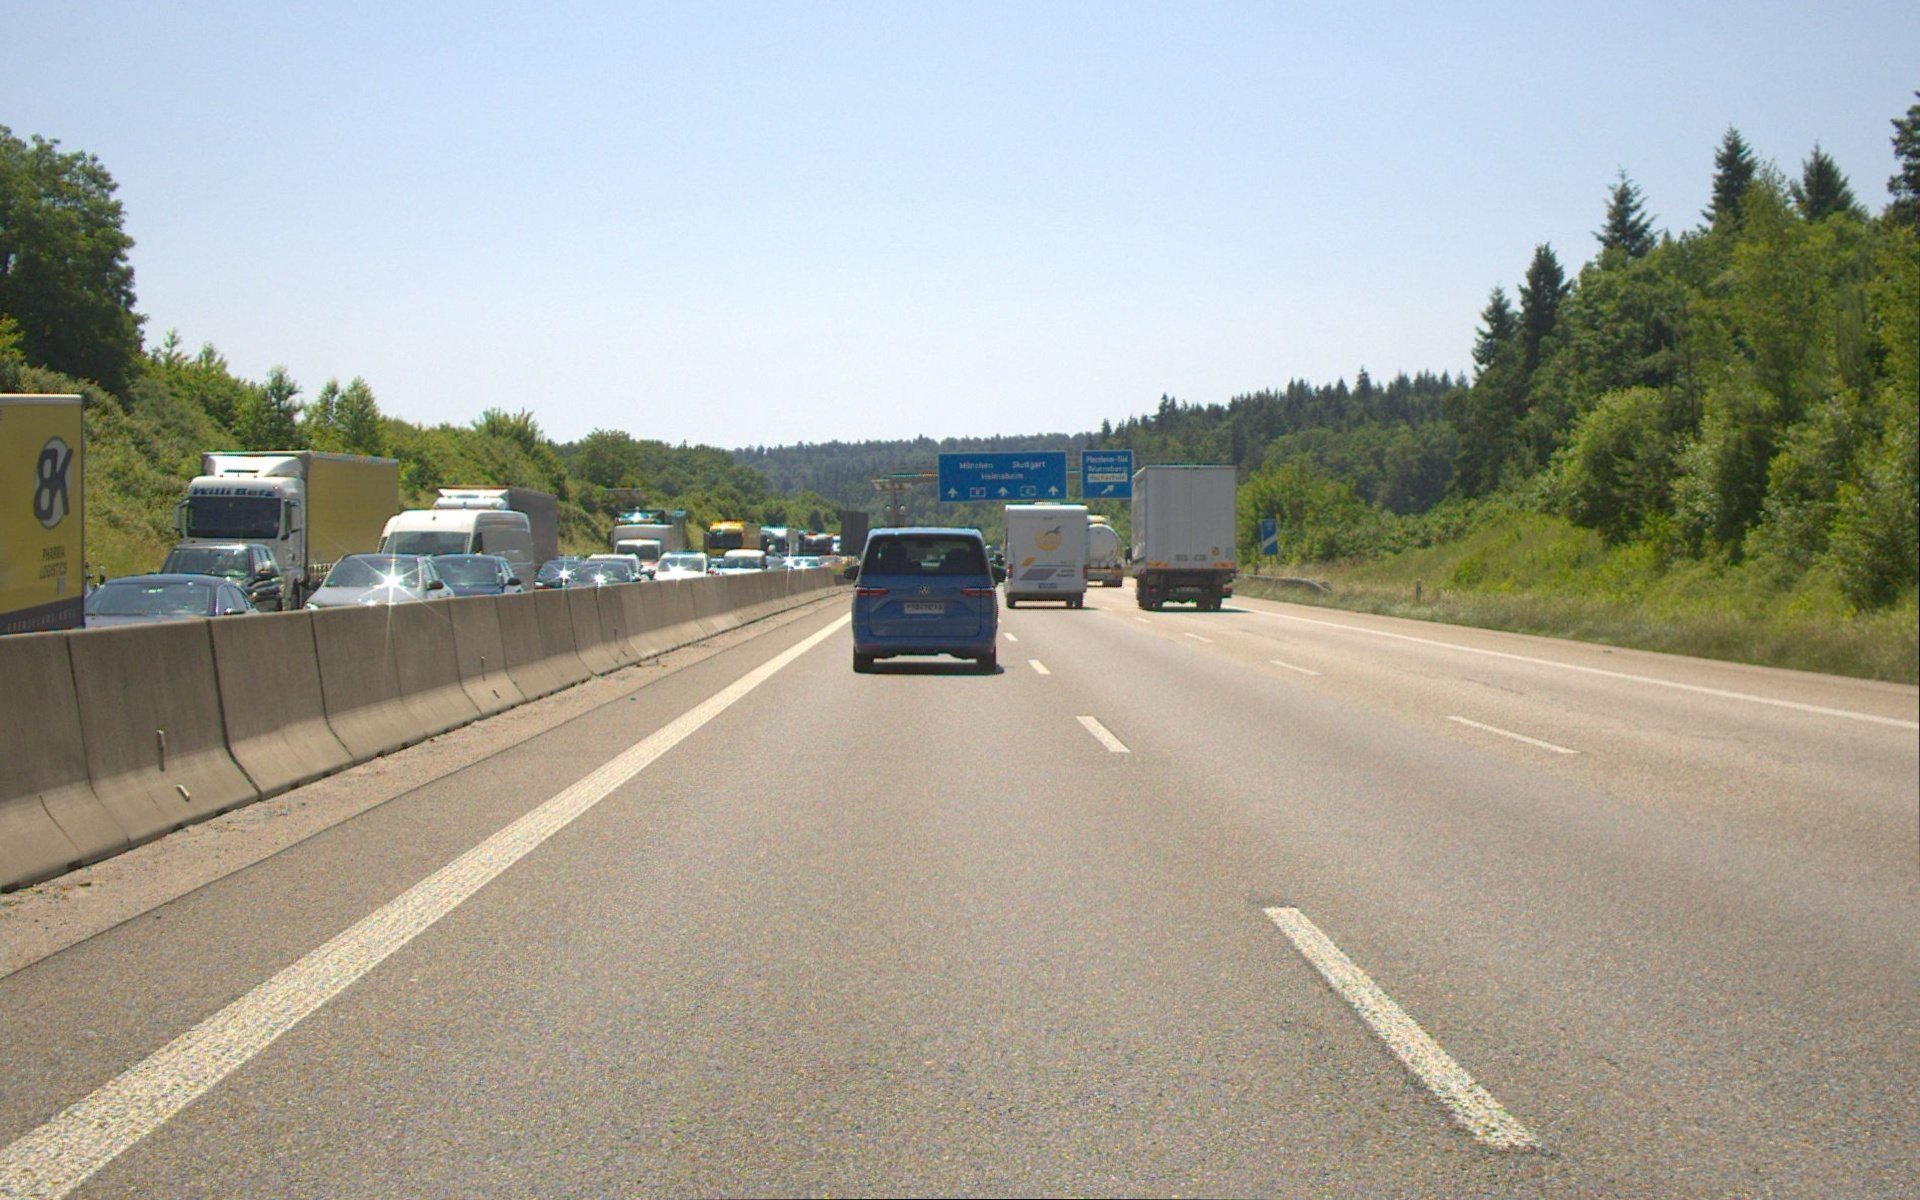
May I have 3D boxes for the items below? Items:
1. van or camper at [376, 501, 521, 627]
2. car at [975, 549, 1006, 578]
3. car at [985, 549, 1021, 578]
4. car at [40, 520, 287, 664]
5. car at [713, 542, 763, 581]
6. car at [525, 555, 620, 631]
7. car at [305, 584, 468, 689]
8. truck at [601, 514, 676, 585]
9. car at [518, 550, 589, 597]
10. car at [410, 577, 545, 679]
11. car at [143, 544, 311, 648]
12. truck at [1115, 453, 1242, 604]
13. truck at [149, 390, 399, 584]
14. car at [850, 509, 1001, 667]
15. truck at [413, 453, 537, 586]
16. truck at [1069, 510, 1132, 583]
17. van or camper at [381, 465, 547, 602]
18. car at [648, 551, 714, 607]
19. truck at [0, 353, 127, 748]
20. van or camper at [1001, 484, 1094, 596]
[{"bbox_3d":[-12.516,-0.865,84.620,2.197,2.929,7.534,1,0,2],"label":"van or camper"},{"bbox_3d":[1.853,-2.227,209.931,1.776,1.766,4.000,0,1,-1],"label":"car"},{"bbox_3d":[2.280,-1.959,183.518,1.780,1.481,4.000,0,1,-1],"label":"car"},{"bbox_3d":[-8.839,-0.095,38.510,1.827,1.492,4.760,1,0,-2],"label":"car"},{"bbox_3d":[-9.182,-1.585,142.485,1.827,1.559,5.111,1,0,-1],"label":"car"},{"bbox_3d":[-9.394,-0.176,83.716,1.827,1.758,4.991,1,0,-1],"label":"car"},{"bbox_3d":[-8.617,0.512,51.997,1.827,1.492,4.760,1,0,-2],"label":"car"},{"bbox_3d":[-13.335,-2.077,142.926,2.568,2.835,6.753,1,0,-1],"label":"truck"},{"bbox_3d":[-13.280,-0.877,112.539,1.827,1.488,4.991,0,1,-1],"label":"car"},{"bbox_3d":[-8.713,0.486,62.456,1.827,1.758,4.991,1,0,-1],"label":"car"},{"bbox_3d":[-12.876,-0.076,60.673,1.997,1.722,4.759,1,0,-1],"label":"car"},{"bbox_3d":[6.247,-1.992,99.649,2.783,4.114,9.740,1,0,-1],"label":"truck"},{"bbox_3d":[-17.302,-2.669,88.251,3.696,4.441,16.677,1,0,-2],"label":"truck"},{"bbox_3d":[-0.461,-0.196,45.840,1.909,2.007,4.000,0,1,-1],"label":"car"},{"bbox_3d":[-17.112,-2.763,121.837,2.942,4.500,8.605,1,0,1],"label":"truck"},{"bbox_3d":[7.066,-2.757,174.235,2.928,3.563,8.526,-1,1,1],"label":"truck"},{"bbox_3d":[-10.529,-1.366,73.588,2.251,2.766,7.217,1,0,2],"label":"van or camper"},{"bbox_3d":[-9.063,-0.671,111.956,1.827,1.758,4.991,1,0,-1],"label":"car"},{"bbox_3d":[-8.449,-0.390,26.575,2.268,3.006,6.777,1,0,1],"label":"truck"},{"bbox_3d":[2.555,-1.832,101.892,2.603,3.068,7.183,1,3,1],"label":"van or camper"}]
